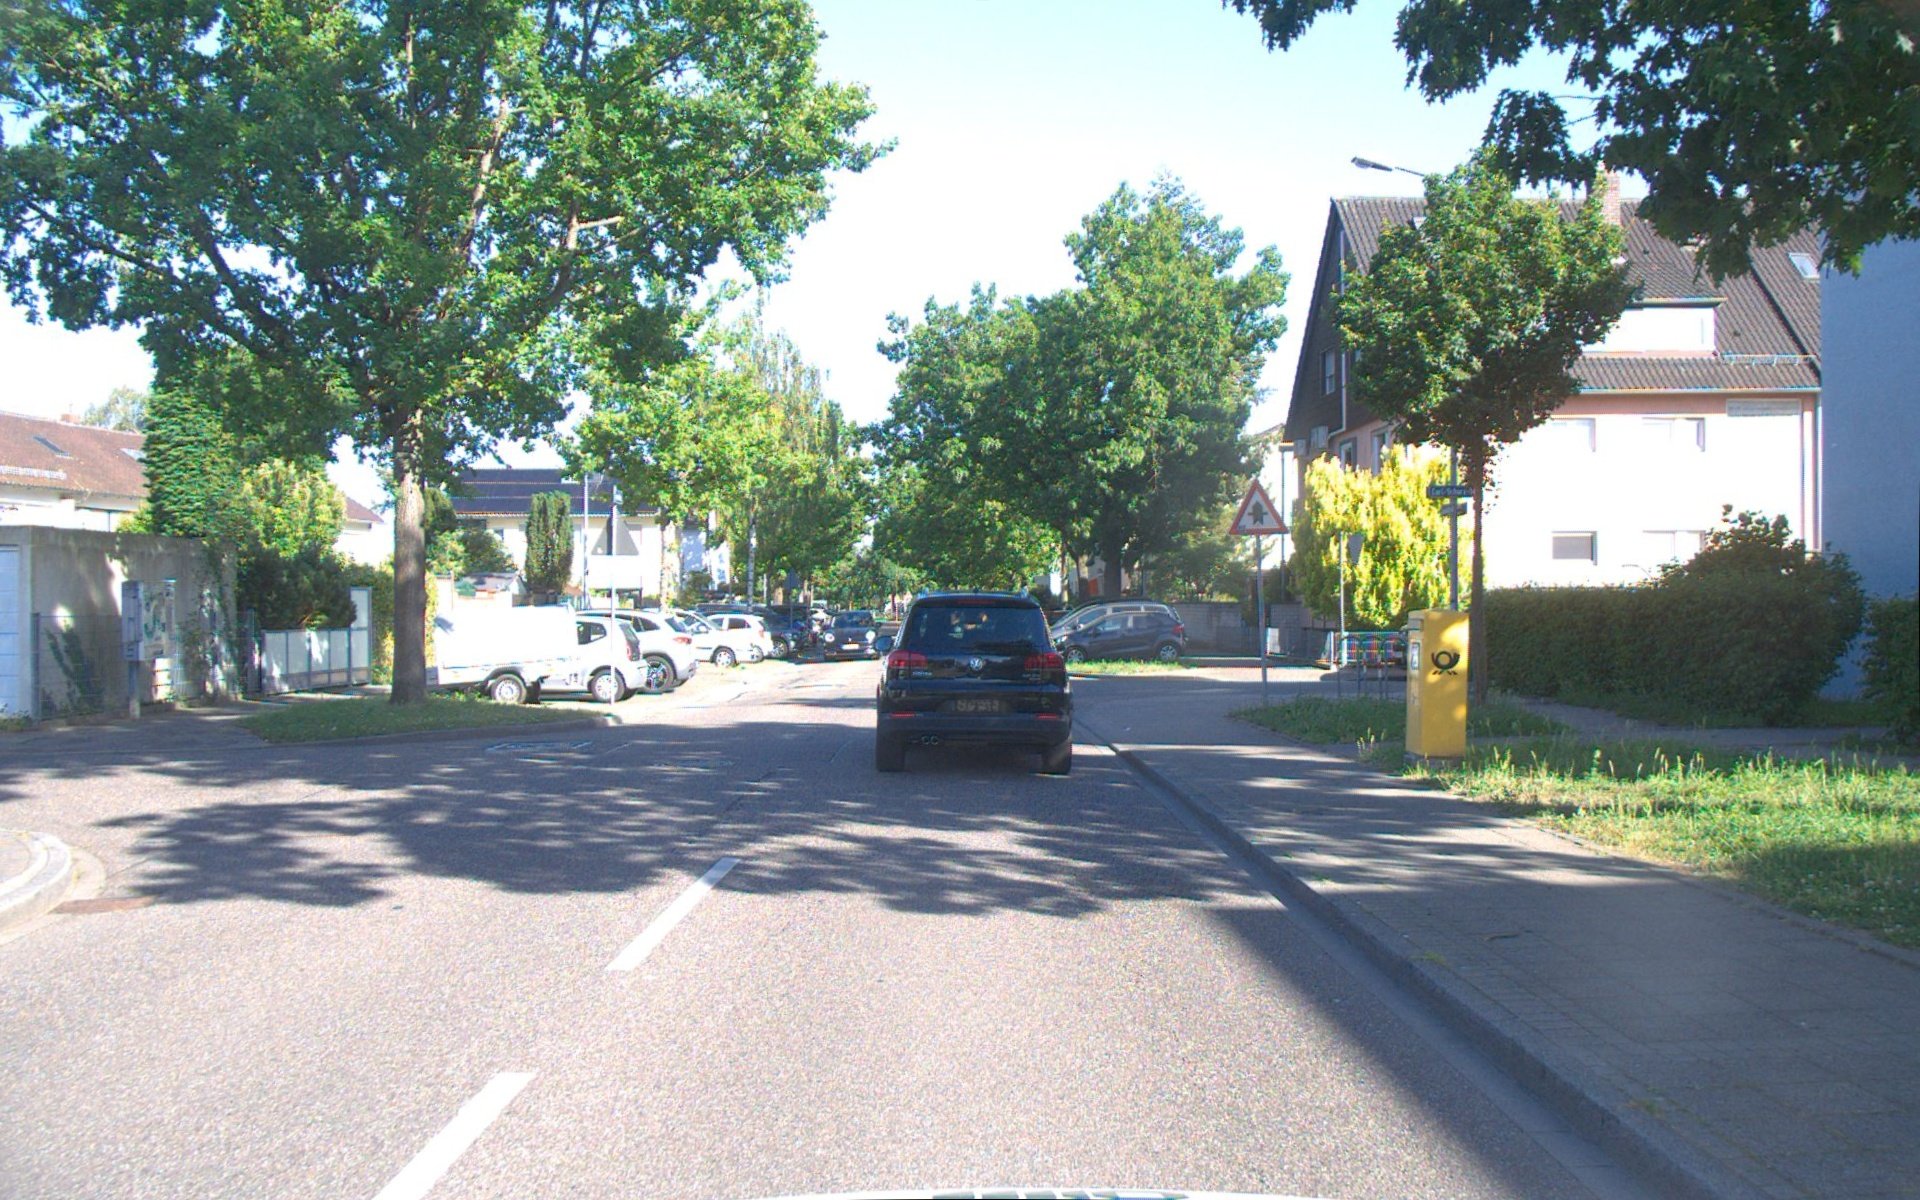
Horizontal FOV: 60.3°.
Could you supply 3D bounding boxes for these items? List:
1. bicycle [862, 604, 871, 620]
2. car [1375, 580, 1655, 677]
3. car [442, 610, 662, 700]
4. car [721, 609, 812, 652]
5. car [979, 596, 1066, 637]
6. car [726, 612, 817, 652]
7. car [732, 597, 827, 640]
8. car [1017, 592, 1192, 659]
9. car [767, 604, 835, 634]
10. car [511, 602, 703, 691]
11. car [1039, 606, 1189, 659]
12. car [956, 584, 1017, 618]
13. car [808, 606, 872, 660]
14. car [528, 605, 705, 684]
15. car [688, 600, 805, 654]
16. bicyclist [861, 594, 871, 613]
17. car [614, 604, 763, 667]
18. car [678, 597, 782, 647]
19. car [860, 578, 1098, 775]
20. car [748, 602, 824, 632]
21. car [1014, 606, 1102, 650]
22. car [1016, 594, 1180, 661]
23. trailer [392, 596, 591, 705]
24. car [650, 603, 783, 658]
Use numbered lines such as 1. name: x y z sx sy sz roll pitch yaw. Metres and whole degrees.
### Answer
1. bicycle: -7.048 0.913 124.264 0.625 1.183 1.739 0 -2 -5
2. car: 11.511 0.605 34.515 5.137 1.880 2.070 -1 -2 -5
3. car: -7.205 0.947 29.463 3.477 1.503 1.807 -1 0 -2
4. car: -7.188 1.117 61.643 3.305 1.516 1.642 -1 0 -6
5. car: 2.862 0.756 76.267 3.906 1.806 1.789 0 0 -1
6. car: -8.417 1.457 74.092 3.907 1.750 1.819 0 -2 -3
7. car: -8.348 0.871 76.585 4.305 1.973 1.576 0 -2 -6
8. car: 4.399 0.774 50.893 5.153 1.979 1.999 0 0 -2
9. car: -9.591 1.147 99.532 3.914 1.714 1.919 -1 0 -10
10. car: -6.792 0.872 32.156 3.482 1.641 1.849 0 0 -8
11. car: 4.189 0.875 45.347 3.906 1.392 1.846 -1 0 -2
12. car: 1.688 0.065 107.781 3.906 2.049 1.999 -1 -2 -1
13. car: -3.783 1.028 52.840 1.871 1.582 3.998 -2 0 -3
14. car: -7.177 0.921 34.832 3.481 1.585 1.850 -1 -1 -7
15. car: -7.310 0.922 57.048 3.910 1.762 1.998 -1 0 -6
16. bicyclist: -7.069 0.260 124.346 0.687 1.370 0.506 0 -2 -6
17. car: -7.661 0.992 46.933 3.906 1.699 2.000 0 0 -1
18. car: -8.938 0.847 64.455 3.910 1.868 1.635 -1 0 -6
19. car: 0.041 0.673 16.594 1.892 1.683 4.509 1 0 -6
20. car: -9.288 0.914 88.474 3.906 1.525 1.999 -1 -2 -1
21. car: 3.513 0.996 59.677 2.987 1.534 1.244 -1 -1 -8
22. car: 3.953 0.781 47.838 4.539 1.841 1.823 -1 0 -2
23. trailer: -7.619 0.803 27.089 2.909 1.685 1.395 -1 0 -6
24. car: -7.661 0.942 52.275 3.905 1.668 2.000 0 0 0
